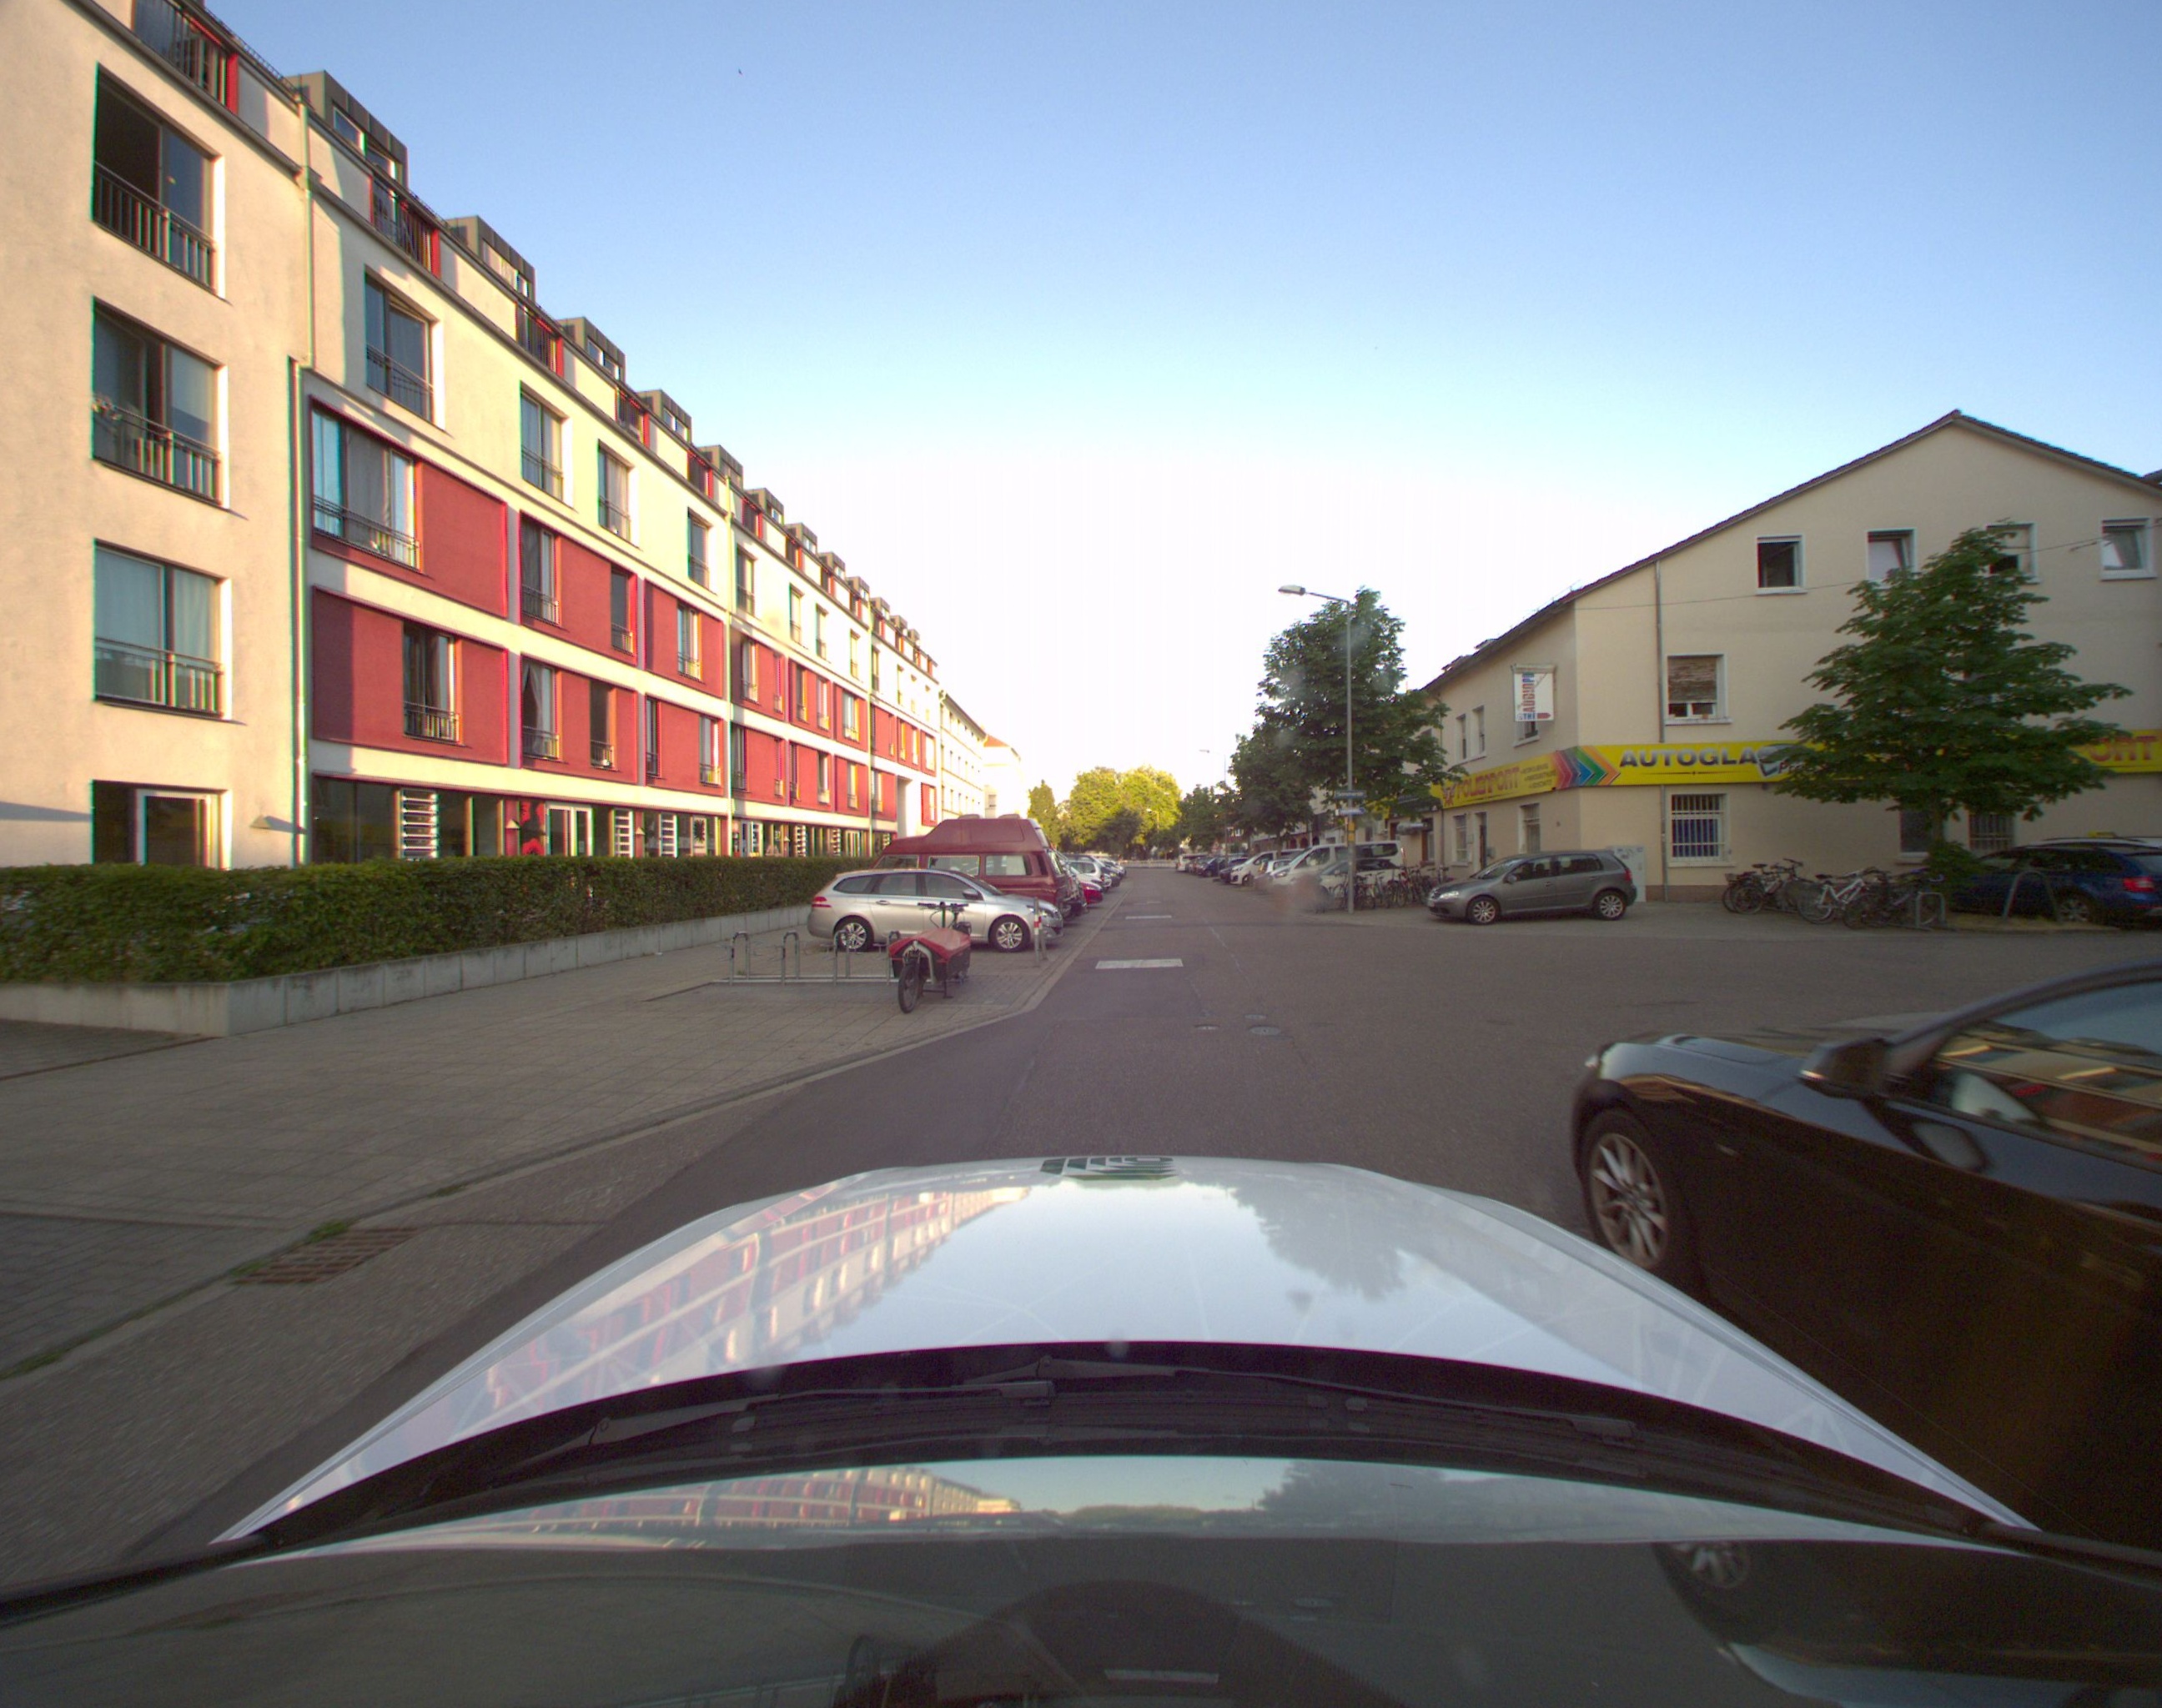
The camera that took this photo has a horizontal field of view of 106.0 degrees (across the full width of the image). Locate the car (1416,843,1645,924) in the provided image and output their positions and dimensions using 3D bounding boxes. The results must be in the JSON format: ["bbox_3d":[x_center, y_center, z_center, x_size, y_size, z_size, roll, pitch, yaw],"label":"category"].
[{"bbox_3d":[9.746,0.622,17.921,4.030,1.514,1.759,-3,1,6],"label":"car"}]

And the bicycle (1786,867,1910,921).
[{"bbox_3d":[14.761,0.760,15.692,1.840,1.010,0.429,0,2,6],"label":"bicycle"}]

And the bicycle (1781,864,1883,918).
[{"bbox_3d":[14.935,0.730,16.208,1.594,1.041,0.344,0,2,6],"label":"bicycle"}]

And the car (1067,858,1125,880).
[{"bbox_3d":[1.168,1.093,60.838,4.237,1.622,2.002,0,0,4],"label":"car"}]

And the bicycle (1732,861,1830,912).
[{"bbox_3d":[14.959,0.686,17.427,1.723,1.070,0.344,0,2,4],"label":"bicycle"}]

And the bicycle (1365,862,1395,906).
[{"bbox_3d":[8.479,0.830,23.129,0.384,1.200,1.483,-2,-1,6],"label":"bicycle"}]

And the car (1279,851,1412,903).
[{"bbox_3d":[8.820,0.751,27.409,3.902,1.451,1.769,-3,-1,2],"label":"car"}]

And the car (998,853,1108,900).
[{"bbox_3d":[-1.087,0.882,33.151,4.236,1.836,2.003,0,0,5],"label":"car"}]

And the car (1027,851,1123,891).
[{"bbox_3d":[-0.275,0.871,42.514,4.827,2.021,1.909,0,0,5],"label":"car"}]

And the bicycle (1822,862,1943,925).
[{"bbox_3d":[14.797,0.723,15.045,1.914,1.128,0.427,0,0,-3],"label":"bicycle"}]

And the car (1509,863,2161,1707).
[{"bbox_3d":[2.603,0.746,1.507,1.713,1.424,4.259,0,0,5],"label":"car"}]

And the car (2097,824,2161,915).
[{"bbox_3d":[23.599,0.271,16.032,1.864,1.902,4.337,-2,-2,4],"label":"car"}]

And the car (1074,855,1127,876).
[{"bbox_3d":[1.654,0.958,68.350,4.236,1.749,2.003,0,0,5],"label":"car"}]

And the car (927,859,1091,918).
[{"bbox_3d":[-1.952,0.916,22.709,4.182,1.538,1.847,0,0,11],"label":"car"}]

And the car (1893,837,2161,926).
[{"bbox_3d":[19.068,0.470,16.049,1.733,1.509,4.576,-1,-1,3],"label":"car"}]

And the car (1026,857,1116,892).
[{"bbox_3d":[-0.441,1.002,39.958,4.236,1.652,1.890,0,0,5],"label":"car"}]

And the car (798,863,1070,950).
[{"bbox_3d":[-2.558,0.918,15.008,4.598,1.460,1.881,0,0,2],"label":"car"}]

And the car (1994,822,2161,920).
[{"bbox_3d":[21.290,0.288,15.949,1.864,1.831,4.583,-2,1,4],"label":"car"}]

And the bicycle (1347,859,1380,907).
[{"bbox_3d":[8.076,0.804,23.323,0.384,1.304,2.020,-2,0,6],"label":"bicycle"}]

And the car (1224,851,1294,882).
[{"bbox_3d":[11.985,0.833,55.079,4.298,1.804,1.812,-3,-1,3],"label":"car"}]

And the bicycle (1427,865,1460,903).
[{"bbox_3d":[10.246,0.835,23.057,0.386,1.017,1.483,-2,0,6],"label":"bicycle"}]

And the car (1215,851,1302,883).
[{"bbox_3d":[10.900,0.795,50.242,4.923,1.689,2.079,-3,-1,3],"label":"car"}]

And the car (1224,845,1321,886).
[{"bbox_3d":[10.574,0.652,45.298,4.923,1.958,2.051,-3,-1,3],"label":"car"}]

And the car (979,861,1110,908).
[{"bbox_3d":[-1.189,1.000,27.710,4.188,1.490,1.853,0,0,6],"label":"car"}]

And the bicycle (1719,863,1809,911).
[{"bbox_3d":[14.894,0.706,17.784,1.595,1.019,0.344,0,2,4],"label":"bicycle"}]

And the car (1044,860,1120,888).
[{"bbox_3d":[0.112,1.141,47.191,4.236,1.505,2.003,0,0,5],"label":"car"}]

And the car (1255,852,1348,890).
[{"bbox_3d":[10.252,0.789,38.104,3.892,1.526,1.942,-3,-1,6],"label":"car"}]

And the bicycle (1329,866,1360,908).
[{"bbox_3d":[7.537,0.929,23.374,0.384,1.114,2.020,-2,0,6],"label":"bicycle"}]

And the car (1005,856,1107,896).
[{"bbox_3d":[-1.034,0.933,35.632,4.236,1.660,2.003,0,0,5],"label":"car"}]

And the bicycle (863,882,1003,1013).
[{"bbox_3d":[-1.625,0.983,9.599,0.803,1.221,2.871,0,0,7],"label":"bicycle"}]

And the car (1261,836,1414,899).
[{"bbox_3d":[9.374,0.503,30.163,4.965,1.983,2.223,-3,-1,5],"label":"car"}]

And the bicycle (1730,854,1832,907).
[{"bbox_3d":[15.661,0.582,18.242,1.850,1.149,0.344,0,2,6],"label":"bicycle"}]

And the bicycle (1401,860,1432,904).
[{"bbox_3d":[9.472,0.766,22.999,0.351,1.200,1.483,-2,-1,6],"label":"bicycle"}]

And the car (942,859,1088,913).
[{"bbox_3d":[-1.936,0.938,24.979,4.191,1.575,2.002,0,0,3],"label":"car"}]

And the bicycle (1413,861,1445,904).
[{"bbox_3d":[9.838,0.782,23.048,0.351,1.143,1.483,-2,0,6],"label":"bicycle"}]

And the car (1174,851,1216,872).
[{"bbox_3d":[11.685,0.777,83.438,3.955,1.912,2.049,-3,-1,0],"label":"car"}]

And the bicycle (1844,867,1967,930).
[{"bbox_3d":[14.772,0.787,14.600,1.845,1.075,0.428,0,2,-3],"label":"bicycle"}]

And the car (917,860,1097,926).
[{"bbox_3d":[-1.737,0.915,20.109,4.191,1.538,1.792,0,0,3],"label":"car"}]

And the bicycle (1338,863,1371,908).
[{"bbox_3d":[7.817,0.863,23.336,0.384,1.200,2.020,-2,0,6],"label":"bicycle"}]

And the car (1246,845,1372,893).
[{"bbox_3d":[9.844,0.645,35.494,4.919,1.742,2.053,-3,-1,6],"label":"car"}]

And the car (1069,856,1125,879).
[{"bbox_3d":[1.258,1.022,63.587,4.236,1.714,2.003,0,0,5],"label":"car"}]

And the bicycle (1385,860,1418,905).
[{"bbox_3d":[9.048,0.792,23.046,0.442,1.200,1.483,-2,-1,6],"label":"bicycle"}]

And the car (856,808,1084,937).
[{"bbox_3d":[-2.288,0.366,17.580,4.488,2.584,2.004,0,0,6],"label":"car"}]

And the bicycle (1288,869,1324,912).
[{"bbox_3d":[6.400,1.013,23.254,0.436,1.130,2.017,-2,0,0],"label":"bicycle"}]

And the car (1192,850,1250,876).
[{"bbox_3d":[11.599,0.774,67.804,4.464,1.912,1.688,-3,-1,0],"label":"car"}]

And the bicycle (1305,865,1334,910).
[{"bbox_3d":[6.830,0.944,23.404,0.384,1.200,2.020,-2,0,6],"label":"bicycle"}]

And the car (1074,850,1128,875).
[{"bbox_3d":[1.754,0.738,70.995,4.512,2.134,2.003,0,0,5],"label":"car"}]
